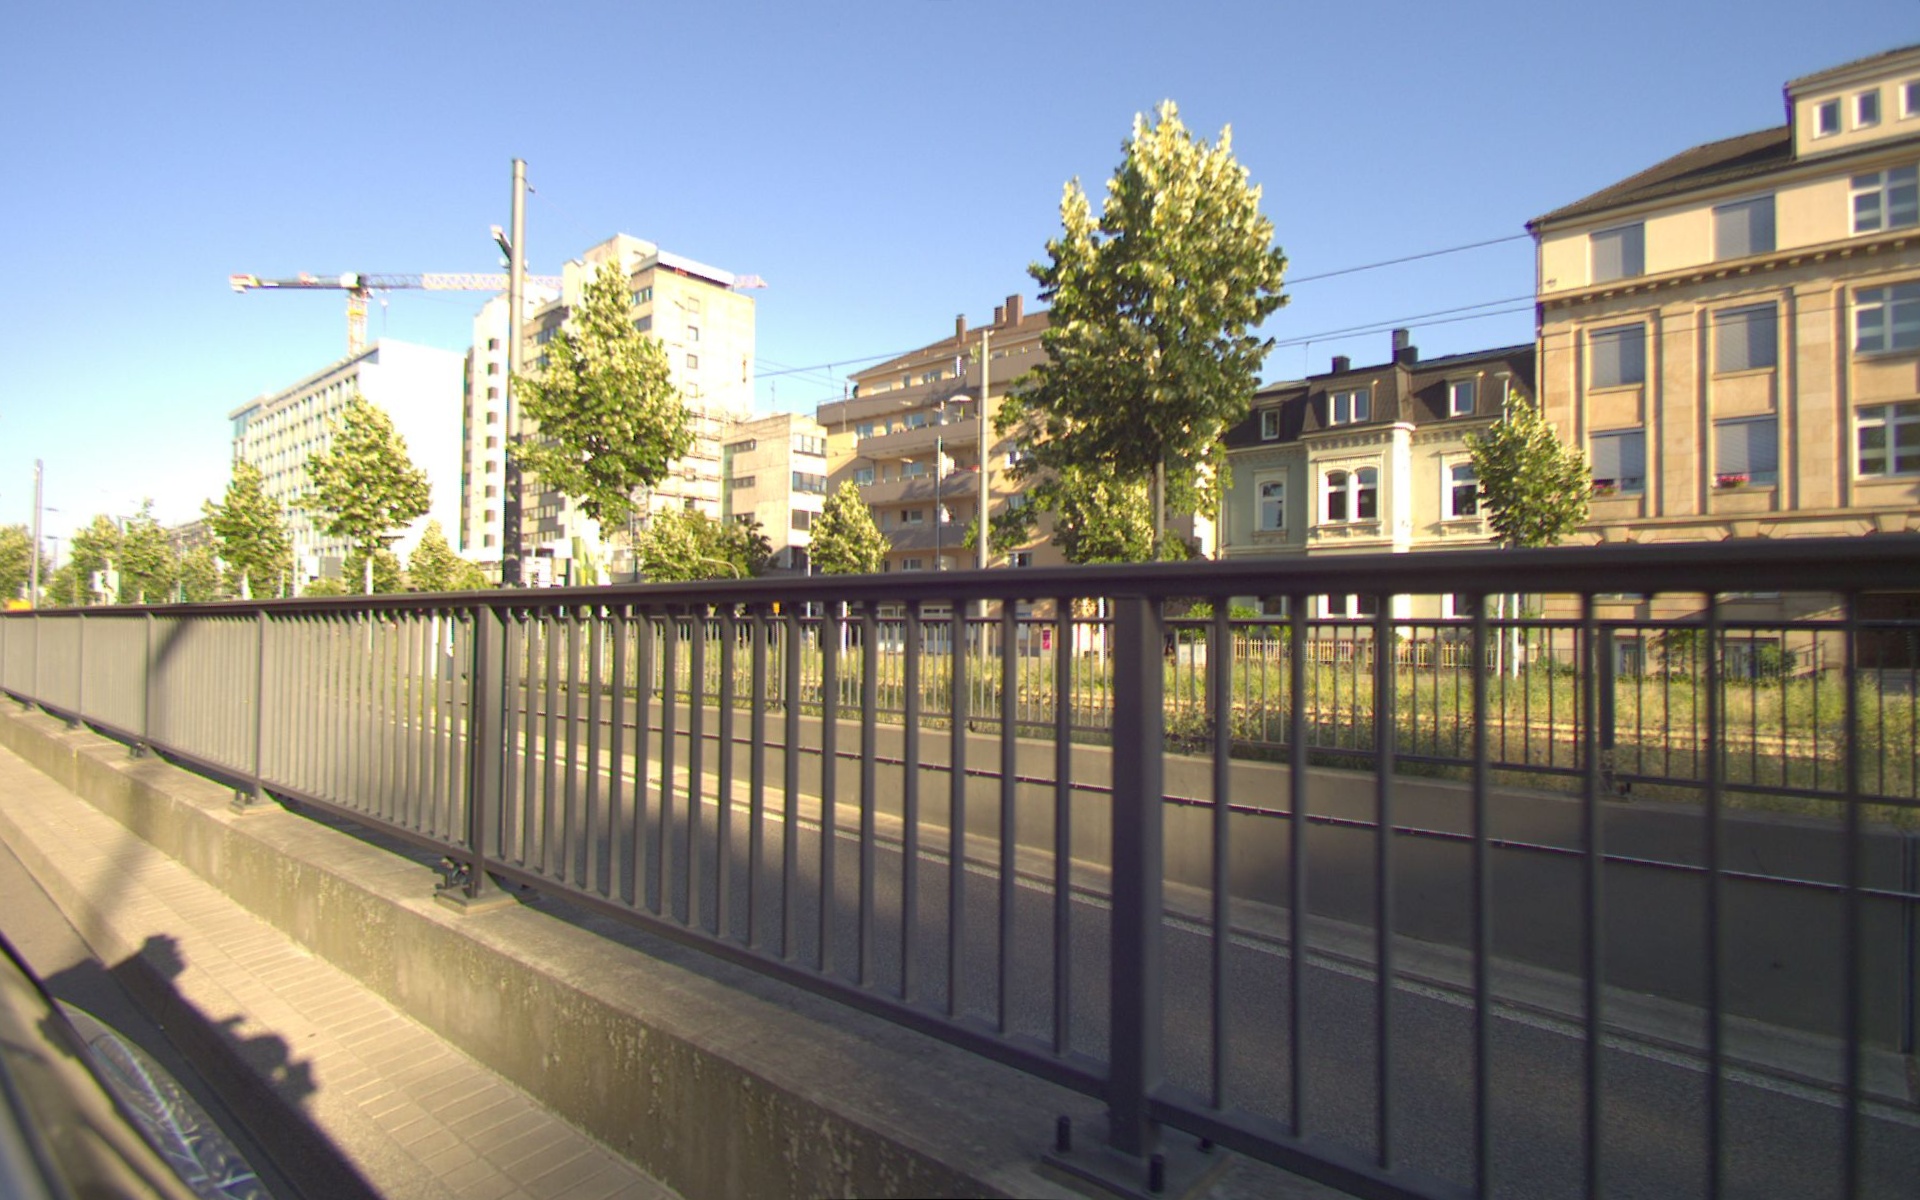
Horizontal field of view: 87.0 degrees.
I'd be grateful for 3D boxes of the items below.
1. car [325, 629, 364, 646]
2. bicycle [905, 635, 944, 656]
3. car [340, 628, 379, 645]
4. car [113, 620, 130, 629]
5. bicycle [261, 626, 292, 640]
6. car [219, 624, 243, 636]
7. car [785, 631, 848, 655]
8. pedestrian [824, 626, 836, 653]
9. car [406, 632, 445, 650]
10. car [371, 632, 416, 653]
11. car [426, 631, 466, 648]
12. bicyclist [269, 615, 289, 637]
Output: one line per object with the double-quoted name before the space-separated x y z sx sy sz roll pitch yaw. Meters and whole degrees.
"car" -60.396 3.666 99.380 1.763 1.455 3.804 0 0 -3
"bicycle" -2.039 2.574 57.879 2.585 1.145 0.525 -1 -2 42
"car" -57.857 3.510 97.605 1.598 1.455 3.794 0 0 -2
"car" -159.274 4.661 192.260 4.638 1.600 1.849 0 0 43
"bicycle" -43.165 2.073 63.942 2.015 0.898 0.503 0 -2 19
"car" -92.109 3.810 127.816 3.389 1.477 1.849 0 0 42
"car" -9.550 2.872 67.429 1.846 1.508 3.945 -2 -4 41
"pedestrian" -7.819 2.364 60.737 0.520 1.567 0.442 -1 -3 41
"car" -45.943 3.507 86.990 1.598 1.413 3.468 0 0 -2
"car" -50.891 3.806 90.997 1.599 1.703 4.195 0 0 1
"car" -41.741 3.189 82.280 1.598 1.283 3.468 0 0 -2
"bicyclist" -42.824 1.632 63.666 0.710 1.405 0.732 0 -2 18
